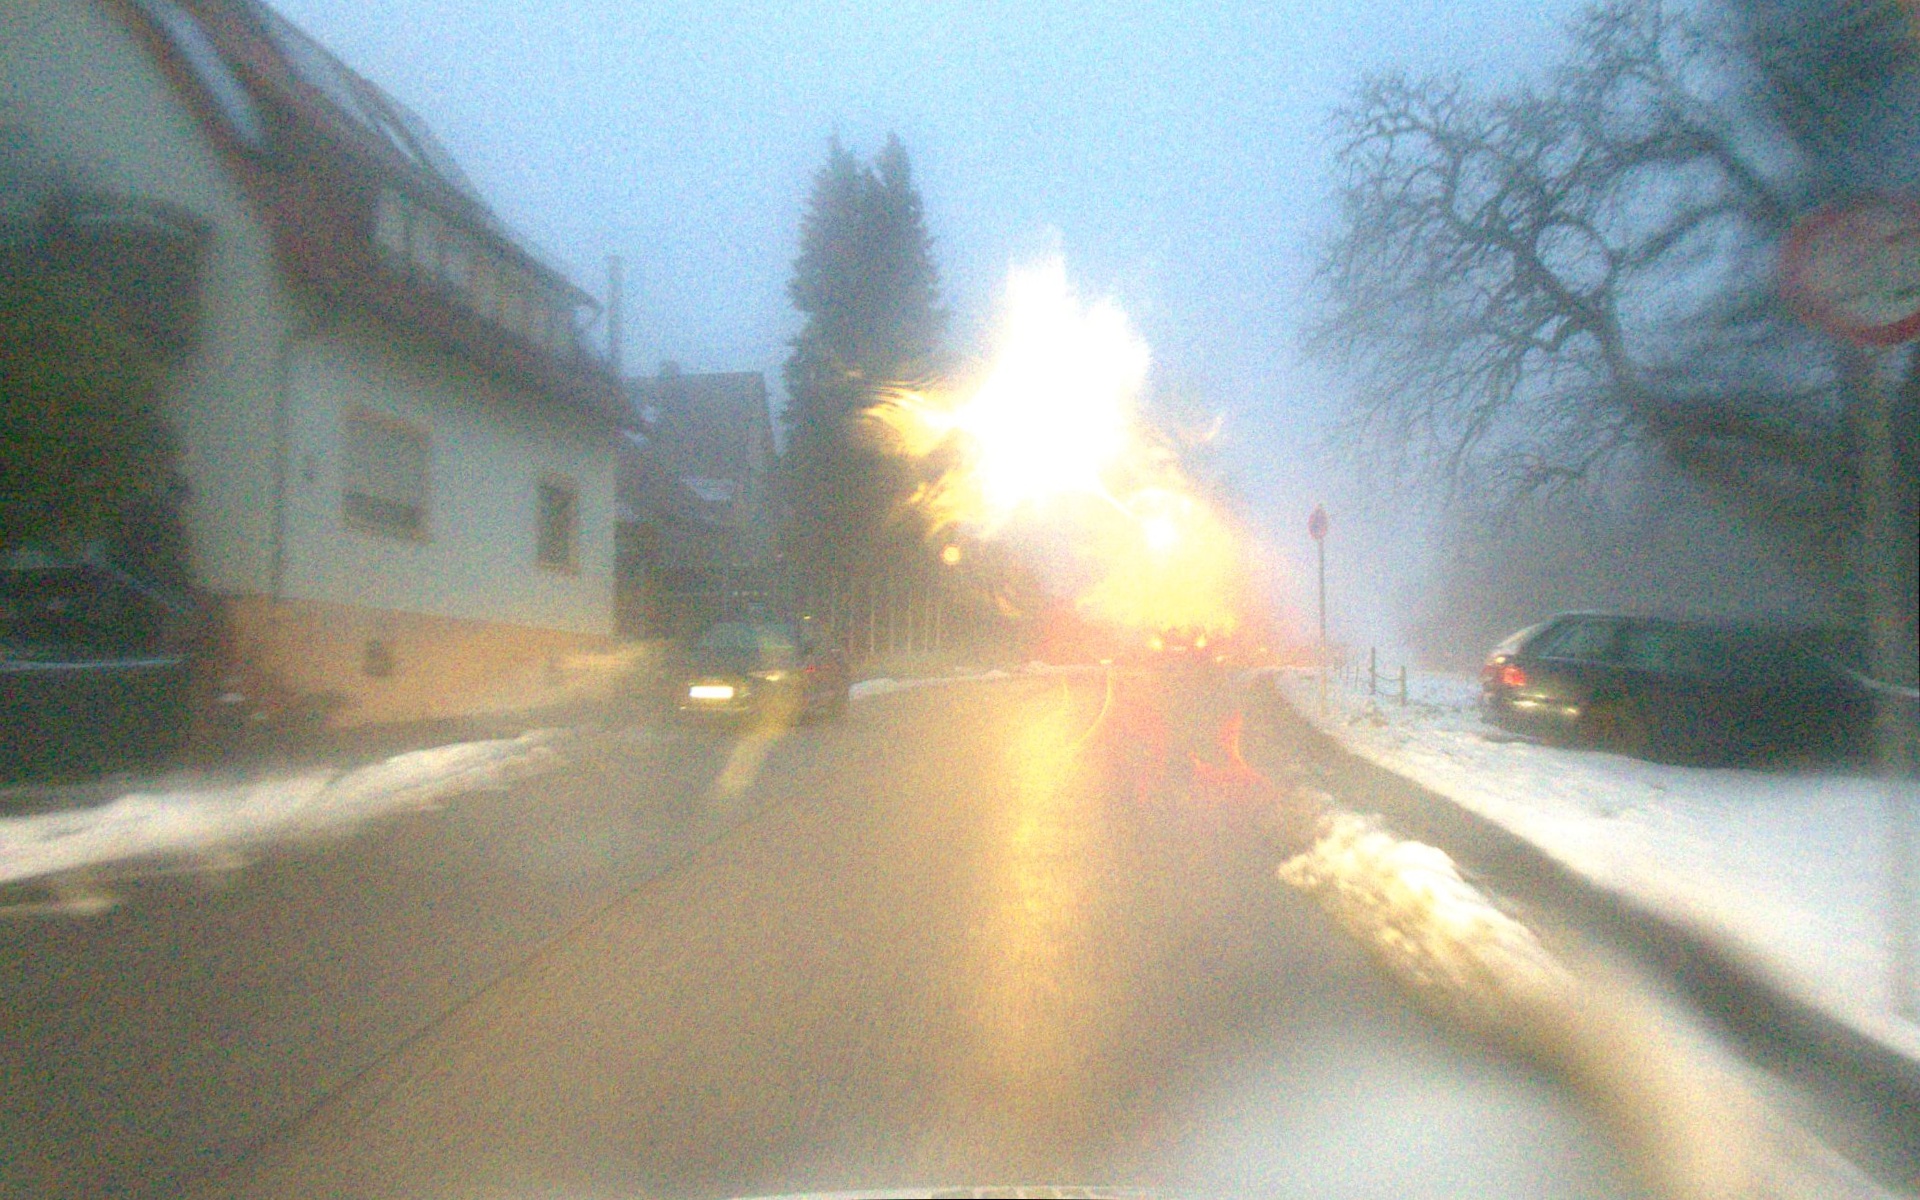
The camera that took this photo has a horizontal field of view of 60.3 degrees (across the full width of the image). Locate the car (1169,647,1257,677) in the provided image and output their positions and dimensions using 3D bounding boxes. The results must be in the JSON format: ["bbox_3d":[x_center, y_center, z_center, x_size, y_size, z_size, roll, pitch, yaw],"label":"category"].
[{"bbox_3d":[15.110,3.705,98.787,4.786,1.511,2.123,-4,-4,20],"label":"car"}]

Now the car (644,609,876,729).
[{"bbox_3d":[-2.626,0.884,23.138,1.837,1.451,5.396,1,-1,8],"label":"car"}]

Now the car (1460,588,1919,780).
[{"bbox_3d":[7.135,0.766,15.545,4.356,1.406,2.037,4,0,9],"label":"car"}]

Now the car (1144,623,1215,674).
[{"bbox_3d":[6.511,1.442,48.851,1.951,1.445,4.003,0,-2,9],"label":"car"}]

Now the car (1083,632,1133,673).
[{"bbox_3d":[6.698,2.420,75.362,1.952,1.594,4.997,-3,-4,2],"label":"car"}]
